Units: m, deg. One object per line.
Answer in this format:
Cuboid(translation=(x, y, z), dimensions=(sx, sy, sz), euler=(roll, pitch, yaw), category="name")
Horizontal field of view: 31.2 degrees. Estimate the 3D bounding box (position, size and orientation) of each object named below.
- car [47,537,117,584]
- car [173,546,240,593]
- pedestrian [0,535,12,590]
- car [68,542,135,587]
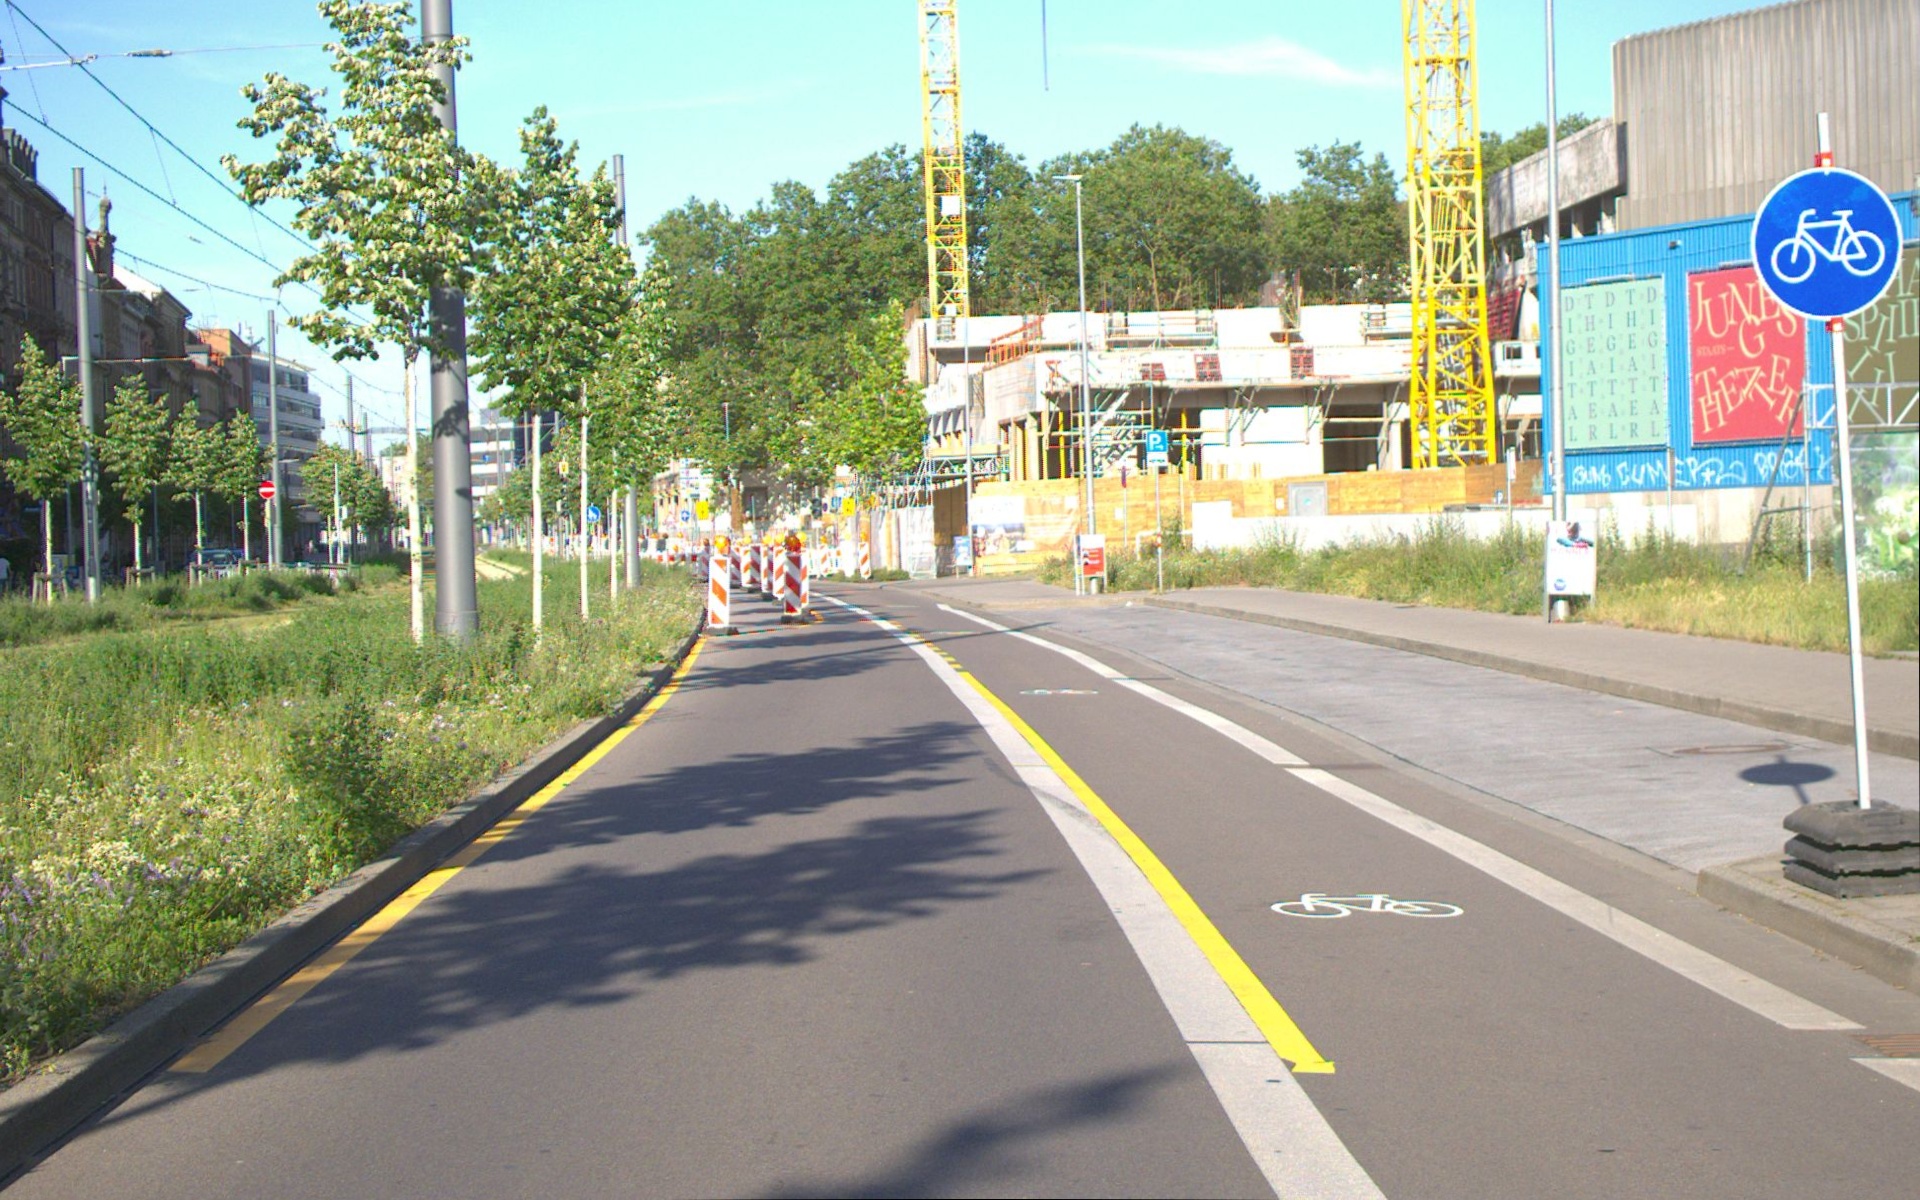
Cuboid(translation=(-31.470, -1.425, 123.309), dimensions=(1.903, 1.570, 4.302), euler=(-2, 1, -8), category="car")
Cuboid(translation=(-26.632, -1.095, 121.623), dimensions=(1.903, 1.570, 4.302), euler=(-2, 1, -8), category="car")
Cuboid(translation=(-33.977, -1.324, 121.920), dimensions=(0.550, 1.940, 0.650), euler=(-2, 1, -8), category="pedestrian")
Cuboid(translation=(-32.080, -1.348, 128.582), dimensions=(1.903, 1.570, 4.302), euler=(-2, 1, -8), category="car")
